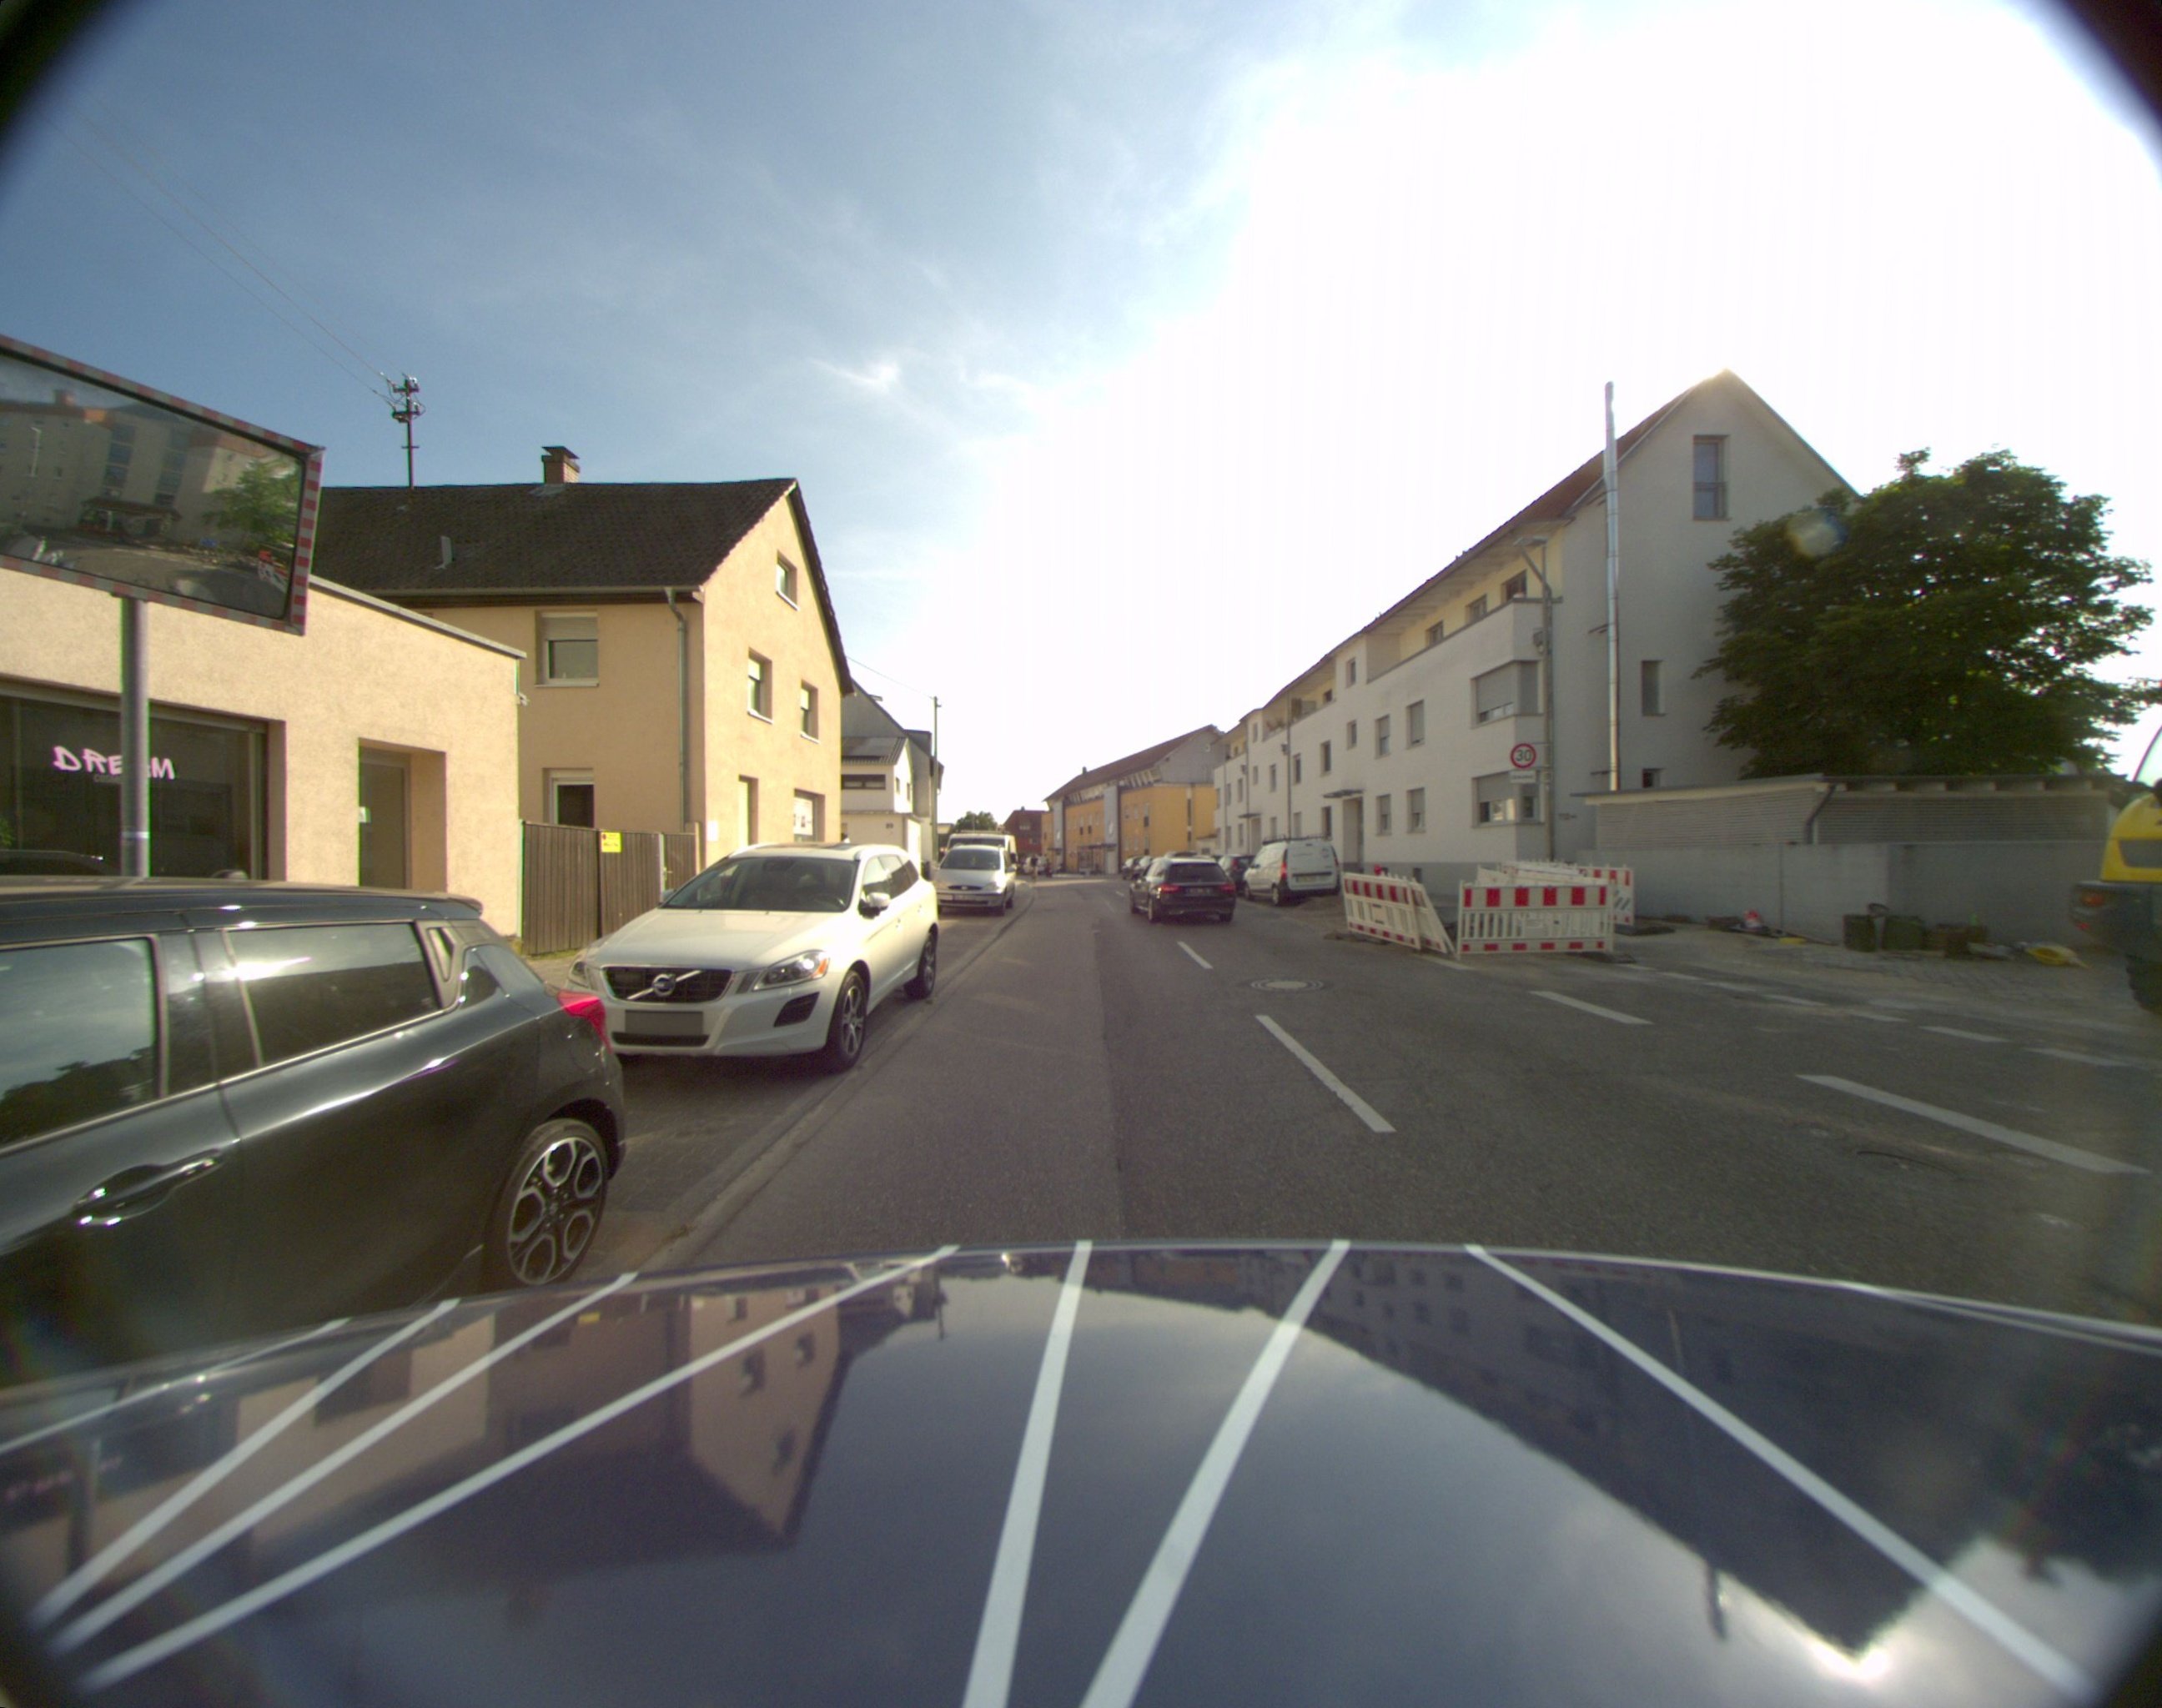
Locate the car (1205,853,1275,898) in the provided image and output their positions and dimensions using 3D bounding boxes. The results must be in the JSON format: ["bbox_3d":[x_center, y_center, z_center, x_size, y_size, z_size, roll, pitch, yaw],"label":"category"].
[{"bbox_3d":[5.569,0.713,26.928,1.497,1.456,3.512,-2,0,-4],"label":"car"}]

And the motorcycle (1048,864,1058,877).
[{"bbox_3d":[-2.226,1.355,61.242,0.770,0.979,2.198,-1,0,-2],"label":"motorcycle"}]

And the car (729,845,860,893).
[{"bbox_3d":[-9.102,0.450,24.516,1.657,1.399,3.986,1,0,22],"label":"car"}]

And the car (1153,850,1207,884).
[{"bbox_3d":[5.000,0.627,38.979,1.732,1.612,4.260,-2,0,-7],"label":"car"}]

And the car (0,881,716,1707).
[{"bbox_3d":[-2.667,0.930,1.555,1.593,1.519,4.613,1,1,0],"label":"car"}]

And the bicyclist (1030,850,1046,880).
[{"bbox_3d":[-2.548,0.636,44.502,0.846,1.680,0.877,-1,1,-8],"label":"bicyclist"}]

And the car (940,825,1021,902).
[{"bbox_3d":[-3.268,0.315,25.679,2.180,2.314,4.996,1,0,-2],"label":"car"}]

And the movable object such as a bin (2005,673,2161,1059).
[{"bbox_3d":[10.816,0.016,5.974,5.516,2.883,2.110,-2,0,-11],"label":"movable object such as a bin"}]

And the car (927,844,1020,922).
[{"bbox_3d":[-2.652,0.665,19.667,1.782,1.731,4.483,2,0,-1],"label":"car"}]

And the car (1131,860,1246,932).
[{"bbox_3d":[2.318,0.866,17.504,1.835,1.412,4.207,0,0,-3],"label":"car"}]

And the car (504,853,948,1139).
[{"bbox_3d":[-2.507,0.846,6.763,1.817,1.674,4.476,1,0,0],"label":"car"}]

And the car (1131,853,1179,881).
[{"bbox_3d":[4.216,0.744,44.090,1.733,1.469,4.499,-2,0,-8],"label":"car"}]

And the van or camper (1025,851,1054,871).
[{"bbox_3d":[-4.522,0.735,82.127,2.001,1.991,4.913,-1,0,-18],"label":"van or camper"}]

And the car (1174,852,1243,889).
[{"bbox_3d":[5.460,0.668,33.112,1.733,1.469,4.260,-1,0,-8],"label":"car"}]

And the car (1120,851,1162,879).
[{"bbox_3d":[3.833,0.707,49.453,1.781,1.612,4.175,-3,0,-8],"label":"car"}]

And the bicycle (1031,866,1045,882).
[{"bbox_3d":[-2.525,1.179,44.396,0.680,0.849,2.025,-1,0,-8],"label":"bicycle"}]

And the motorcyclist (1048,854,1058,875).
[{"bbox_3d":[-2.237,0.868,61.171,0.771,1.642,0.843,-1,1,-3],"label":"motorcyclist"}]

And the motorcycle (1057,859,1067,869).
[{"bbox_3d":[-2.196,1.201,88.650,0.584,1.176,1.875,-2,0,-20],"label":"motorcycle"}]

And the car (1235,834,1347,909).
[{"bbox_3d":[6.028,0.471,22.341,1.732,1.949,4.437,-2,0,-4],"label":"car"}]
